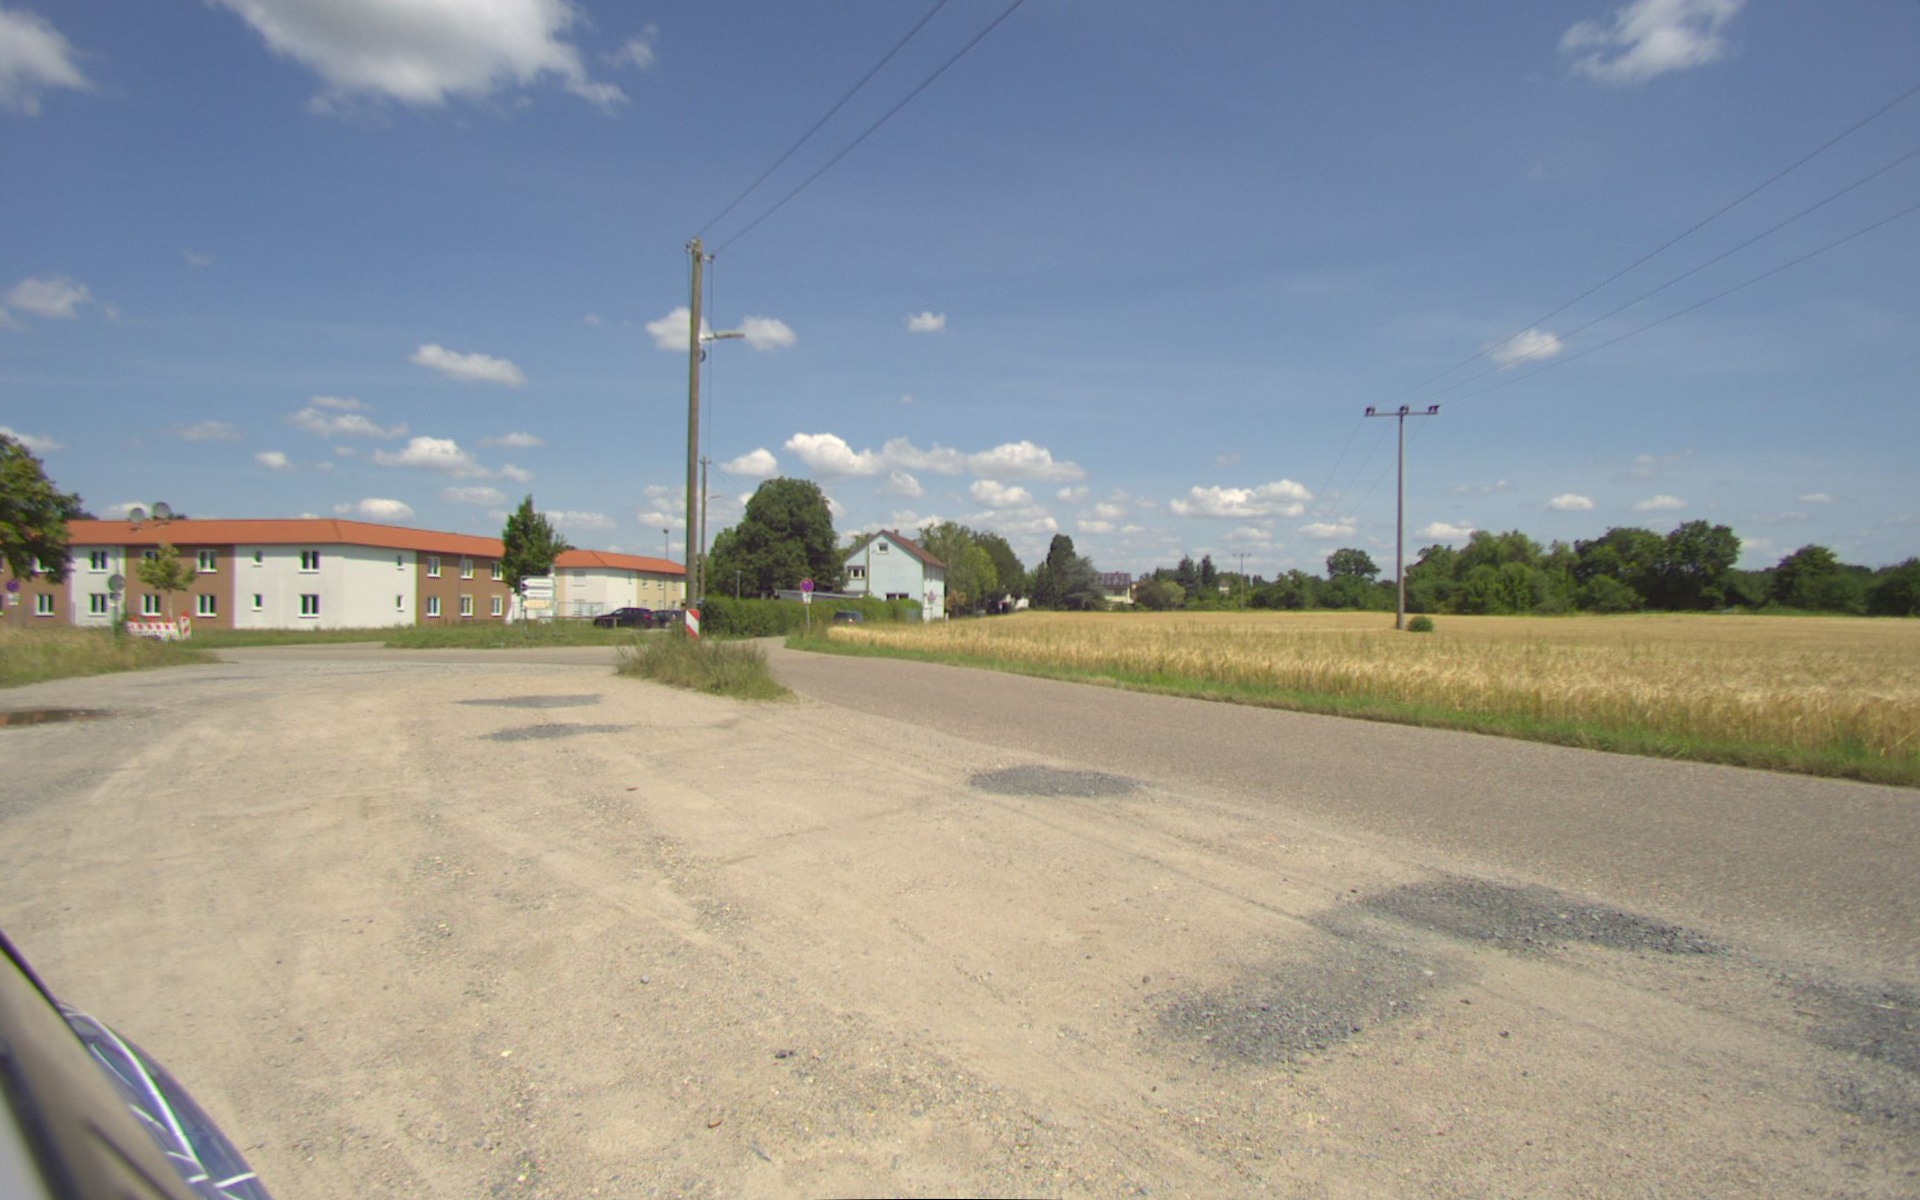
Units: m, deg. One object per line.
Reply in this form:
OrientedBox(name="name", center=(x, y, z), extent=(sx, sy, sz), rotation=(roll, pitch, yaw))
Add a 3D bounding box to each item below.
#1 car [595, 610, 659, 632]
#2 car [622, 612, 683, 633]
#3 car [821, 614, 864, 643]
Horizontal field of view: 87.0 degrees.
OrientedBox(name="car", center=(-24.726, 1.559, 75.238), extent=(4.097, 1.627, 1.996), rotation=(0, -1, 6))
OrientedBox(name="car", center=(-24.017, 1.749, 79.104), extent=(4.097, 1.627, 1.996), rotation=(0, -1, 6))
OrientedBox(name="car", center=(-7.516, 1.797, 65.105), extent=(1.730, 1.692, 4.243), rotation=(-1, 0, 9))
